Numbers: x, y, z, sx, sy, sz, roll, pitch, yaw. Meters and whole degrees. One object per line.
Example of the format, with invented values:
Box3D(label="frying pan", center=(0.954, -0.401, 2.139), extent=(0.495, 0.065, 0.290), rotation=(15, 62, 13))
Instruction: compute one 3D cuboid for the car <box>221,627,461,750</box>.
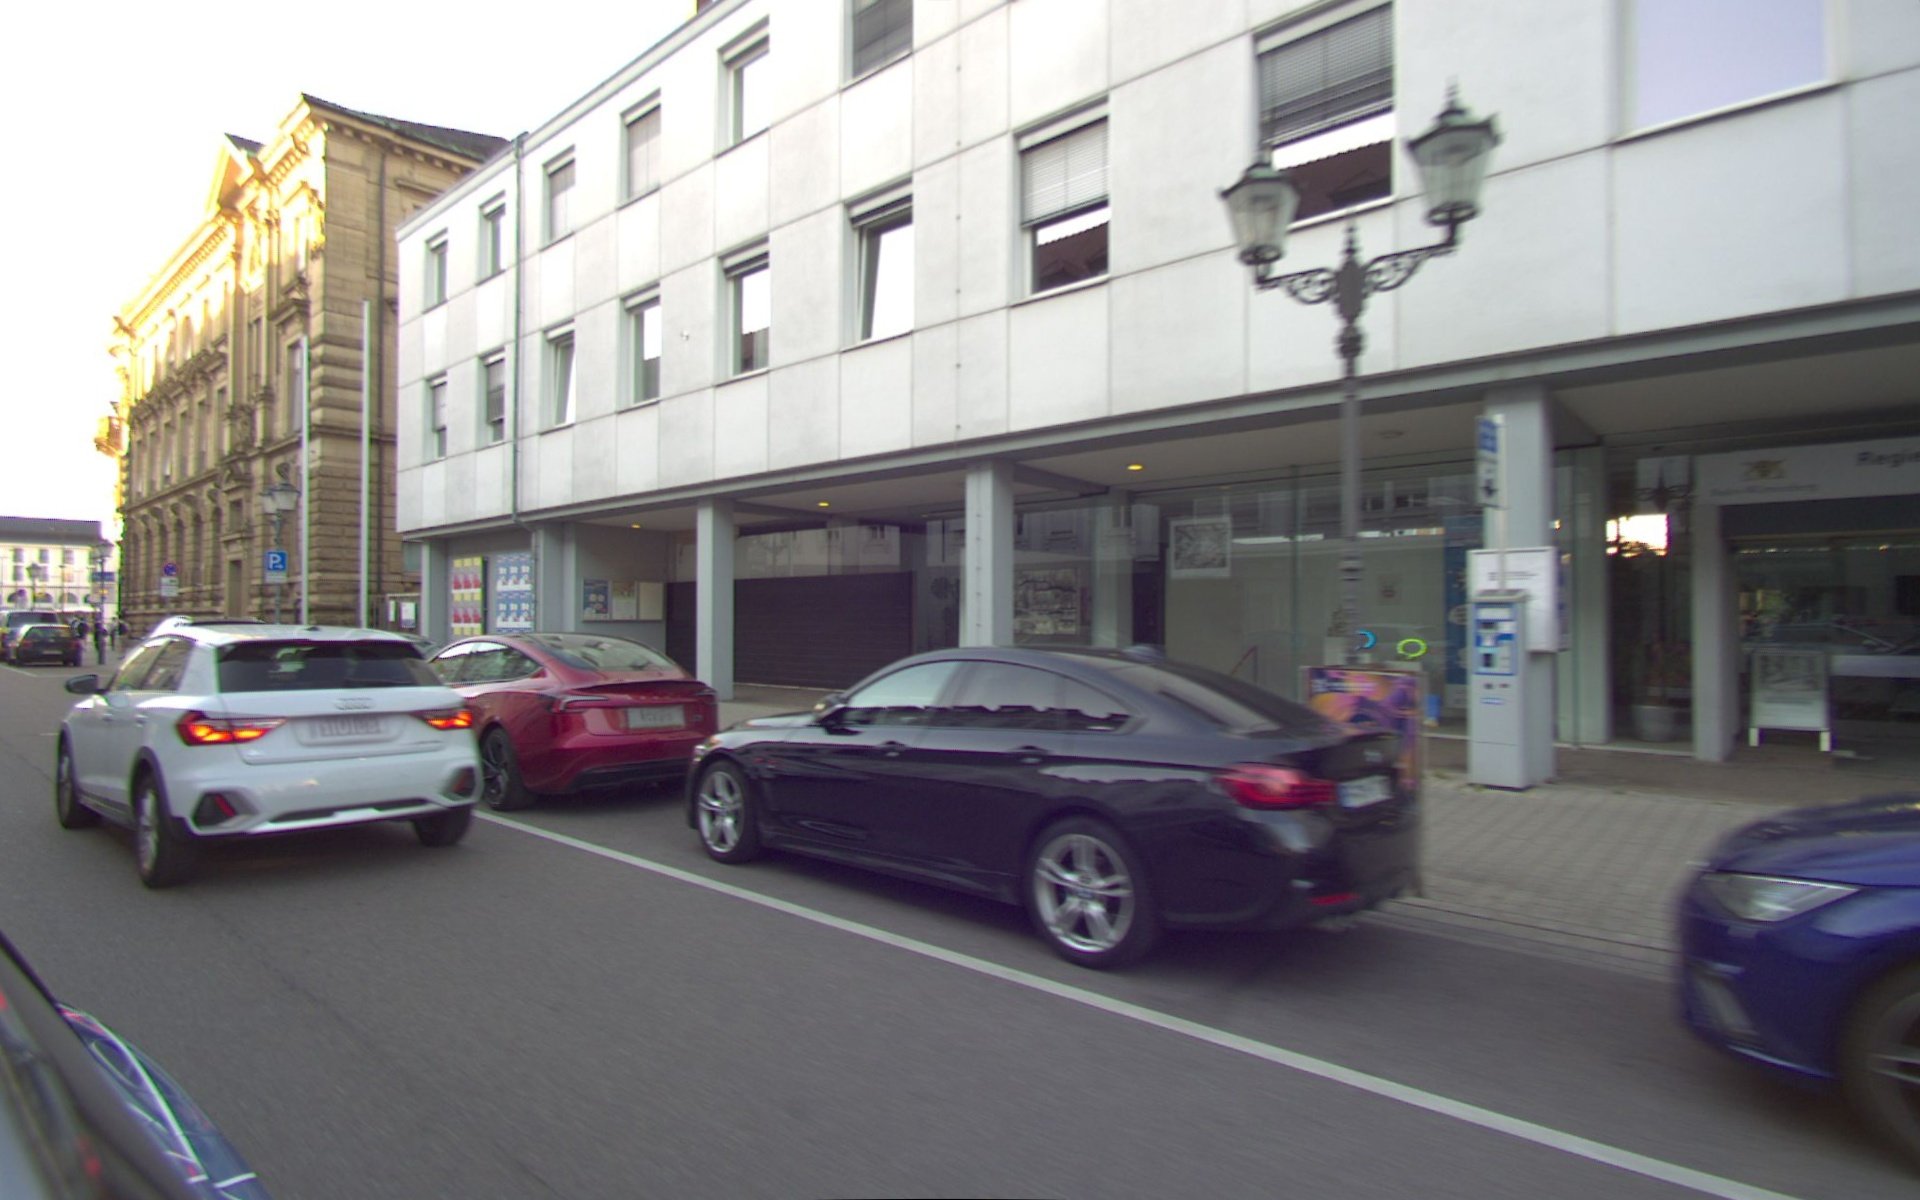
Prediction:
Box3D(label="car", center=(-8.503, 1.078, 13.764), extent=(4.088, 1.419, 1.765), rotation=(-2, -2, 43))

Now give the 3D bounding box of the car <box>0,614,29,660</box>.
Box3D(label="car", center=(-45.391, 1.706, 47.569), extent=(5.207, 2.103, 1.972), rotation=(-1, -2, 43))

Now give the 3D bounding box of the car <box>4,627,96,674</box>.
Box3D(label="car", center=(-31.676, 1.709, 35.192), extent=(4.164, 1.506, 1.972), rotation=(-1, -2, 43))

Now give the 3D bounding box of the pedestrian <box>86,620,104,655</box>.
Box3D(label="pedestrian", center=(-42.669, 1.843, 49.931), extent=(0.744, 1.743, 0.567), rotation=(-2, -2, 43))

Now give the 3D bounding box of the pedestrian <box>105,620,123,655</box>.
Box3D(label="pedestrian", center=(-42.194, 1.875, 50.495), extent=(0.703, 1.743, 0.600), rotation=(-2, -2, 43))

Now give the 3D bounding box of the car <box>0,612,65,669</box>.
Box3D(label="car", center=(-36.621, 1.527, 39.452), extent=(4.988, 2.093, 1.972), rotation=(0, -1, 42))

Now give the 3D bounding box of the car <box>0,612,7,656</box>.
Box3D(label="car", center=(-50.701, 1.750, 51.951), extent=(5.202, 2.188, 1.973), rotation=(-1, -2, 40))

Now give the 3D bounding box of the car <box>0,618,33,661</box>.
Box3D(label="car", center=(-41.503, 1.666, 43.431), extent=(4.987, 1.765, 1.973), rotation=(-1, -2, 41))

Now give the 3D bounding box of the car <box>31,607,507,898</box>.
Box3D(label="car", center=(-4.917, 0.812, 6.984), extent=(3.998, 1.433, 1.745), rotation=(-1, -3, 41))

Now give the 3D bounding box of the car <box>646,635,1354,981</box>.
Box3D(label="car", center=(0.033, 0.924, 6.179), extent=(4.000, 1.364, 1.972), rotation=(-1, -3, 43))

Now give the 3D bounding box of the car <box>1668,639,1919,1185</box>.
Box3D(label="car", center=(4.147, 0.812, 2.296), extent=(3.998, 1.411, 1.655), rotation=(-1, -2, 42))

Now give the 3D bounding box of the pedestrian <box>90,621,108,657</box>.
Box3D(label="pedestrian", center=(-42.455, 1.907, 49.915), extent=(0.831, 1.743, 0.576), rotation=(-2, -2, 44))

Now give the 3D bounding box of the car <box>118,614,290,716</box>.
Box3D(label="car", center=(-13.703, 1.092, 18.256), extent=(4.166, 1.627, 1.765), rotation=(-2, -2, 43))

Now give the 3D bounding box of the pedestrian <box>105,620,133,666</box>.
Box3D(label="pedestrian", center=(-33.351, 1.695, 40.141), extent=(0.896, 1.743, 0.706), rotation=(-2, 1, 43))

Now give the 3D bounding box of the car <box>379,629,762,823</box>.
Box3D(label="car", center=(-3.802, 0.985, 9.525), extent=(4.088, 1.419, 1.765), rotation=(-2, -2, 43))
